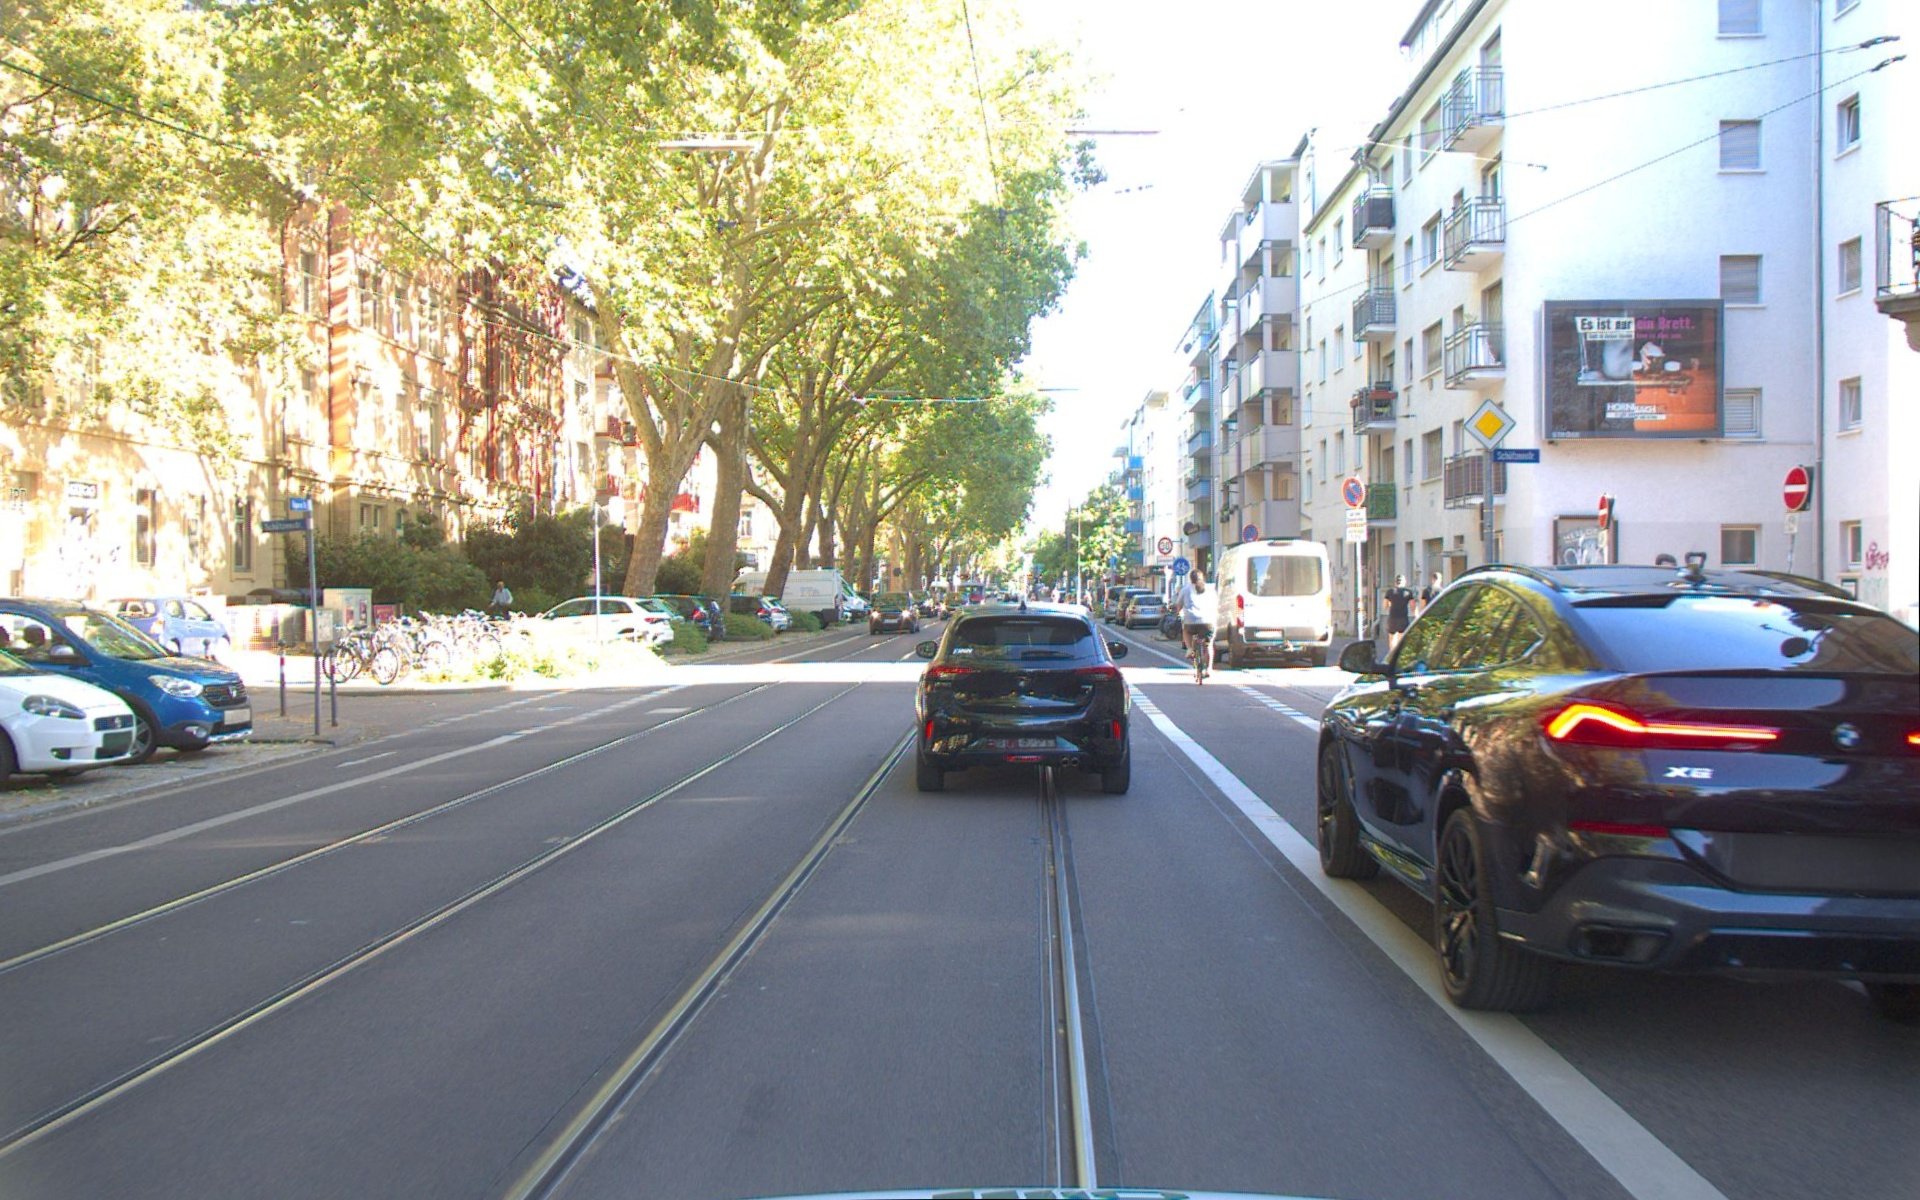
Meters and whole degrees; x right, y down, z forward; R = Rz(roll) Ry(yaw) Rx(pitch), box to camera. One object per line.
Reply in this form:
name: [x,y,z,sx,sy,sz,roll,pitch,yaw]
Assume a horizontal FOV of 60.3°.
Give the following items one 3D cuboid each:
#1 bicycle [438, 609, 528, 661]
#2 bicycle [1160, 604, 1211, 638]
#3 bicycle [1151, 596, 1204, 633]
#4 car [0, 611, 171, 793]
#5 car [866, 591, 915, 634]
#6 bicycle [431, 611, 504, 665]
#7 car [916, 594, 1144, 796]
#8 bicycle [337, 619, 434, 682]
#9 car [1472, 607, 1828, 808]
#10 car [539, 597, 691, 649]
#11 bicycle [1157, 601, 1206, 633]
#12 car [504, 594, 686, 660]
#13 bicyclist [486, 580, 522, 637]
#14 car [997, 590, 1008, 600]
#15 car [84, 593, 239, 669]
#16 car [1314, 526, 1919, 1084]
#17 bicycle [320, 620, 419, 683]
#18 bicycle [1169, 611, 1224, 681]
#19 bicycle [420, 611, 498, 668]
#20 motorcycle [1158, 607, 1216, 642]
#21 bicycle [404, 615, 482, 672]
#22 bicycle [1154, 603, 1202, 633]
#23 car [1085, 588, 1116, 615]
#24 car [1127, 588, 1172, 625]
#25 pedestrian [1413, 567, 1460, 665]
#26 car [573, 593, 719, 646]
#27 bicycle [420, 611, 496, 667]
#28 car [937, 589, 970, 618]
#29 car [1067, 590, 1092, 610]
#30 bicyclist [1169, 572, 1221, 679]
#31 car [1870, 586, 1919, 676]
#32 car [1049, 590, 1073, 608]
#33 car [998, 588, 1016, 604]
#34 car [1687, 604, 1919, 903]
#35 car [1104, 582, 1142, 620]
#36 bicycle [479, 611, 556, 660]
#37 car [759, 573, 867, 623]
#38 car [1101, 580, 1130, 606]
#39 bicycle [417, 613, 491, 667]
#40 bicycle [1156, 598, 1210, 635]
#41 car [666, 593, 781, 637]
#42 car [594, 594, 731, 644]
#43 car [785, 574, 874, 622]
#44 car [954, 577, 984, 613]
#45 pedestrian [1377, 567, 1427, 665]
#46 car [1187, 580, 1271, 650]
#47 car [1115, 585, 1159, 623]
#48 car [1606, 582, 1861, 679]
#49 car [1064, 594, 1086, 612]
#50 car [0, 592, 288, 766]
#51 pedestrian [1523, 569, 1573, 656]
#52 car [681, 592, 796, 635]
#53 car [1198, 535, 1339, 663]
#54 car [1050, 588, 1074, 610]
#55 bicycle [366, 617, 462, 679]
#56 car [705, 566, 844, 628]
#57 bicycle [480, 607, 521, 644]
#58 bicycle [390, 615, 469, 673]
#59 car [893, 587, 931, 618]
bicycle: [-10.366,0.751,35.940,1.879,1.107,0.597,0,0,20]
bicycle: [7.525,0.694,55.207,1.618,1.073,0.457,-2,0,2]
bicycle: [7.723,0.506,58.769,1.785,1.212,0.457,-2,0,2]
car: [-9.472,0.898,15.071,3.692,1.544,1.748,-1,0,-1]
car: [-2.538,0.442,61.090,1.601,1.536,3.692,0,0,0]
bicycle: [-10.336,0.794,34.699,1.526,1.107,0.396,0,0,20]
car: [0.568,0.698,13.957,1.645,1.447,3.628,1,0,2]
bicycle: [-10.368,0.907,29.855,1.818,1.107,0.396,0,0,20]
car: [5.868,0.827,14.604,1.614,1.445,4.062,-2,0,4]
car: [-9.707,0.636,46.661,3.903,1.393,1.606,0,0,4]
bicycle: [7.718,0.607,57.735,1.618,1.038,0.457,-2,0,2]
car: [-8.691,0.643,39.584,3.904,1.486,1.879,-1,-1,1]
bicyclist: [-14.534,0.274,52.726,0.813,1.794,1.048,0,0,2]
car: [6.083,-0.708,236.796,1.645,1.447,3.628,1,0,2]
car: [-16.575,0.601,34.514,1.566,1.486,3.489,-1,0,-1]
car: [2.919,0.626,7.464,1.903,1.734,4.632,0,0,3]
bicycle: [-10.515,0.910,29.444,1.818,1.107,0.396,0,0,20]
bicycle: [4.006,0.760,28.102,0.686,1.111,1.990,1,0,2]
bicycle: [-9.908,0.782,32.704,1.526,1.107,0.396,0,0,20]
motorcycle: [7.452,0.814,54.337,1.782,1.099,0.617,-1,0,26]
bicycle: [-10.087,0.843,32.293,1.526,1.107,0.396,0,0,20]
bicycle: [7.682,0.618,58.281,1.618,0.983,0.457,-2,0,2]
car: [8.776,0.087,103.665,1.819,1.680,4.002,0,0,4]
car: [8.118,0.252,71.118,1.688,1.552,4.515,0,0,4]
pedestrian: [9.270,0.316,32.224,0.612,1.854,1.082,-2,-1,4]
car: [-9.242,0.565,48.844,3.903,1.486,1.771,0,0,4]
bicycle: [-10.103,0.777,33.293,1.526,1.107,0.396,0,0,20]
car: [-0.328,0.162,89.378,1.682,1.536,3.723,0,0,0]
car: [9.821,-0.032,135.889,1.683,1.601,4.083,-1,0,-2]
bicyclist: [3.992,0.422,28.112,0.770,1.790,0.915,0,0,2]
car: [17.914,0.506,28.075,3.941,1.481,1.791,0,0,3]
car: [9.829,-0.109,160.781,1.953,1.668,3.999,0,0,-2]
car: [5.072,-0.485,177.224,1.713,1.680,4.002,0,0,4]
car: [5.655,0.780,9.170,1.569,1.445,4.014,-2,0,2]
car: [8.468,0.035,86.173,1.819,1.923,4.927,0,0,4]
bicycle: [-9.940,0.789,37.125,1.767,1.061,0.596,0,0,30]
car: [-7.518,-0.099,84.868,5.248,2.521,2.057,0,0,2]
car: [10.430,-0.478,111.286,1.819,1.680,4.002,0,0,4]
bicycle: [-10.471,0.820,34.221,1.526,1.107,0.396,0,0,20]
bicycle: [7.687,0.564,57.038,1.756,1.168,0.705,-2,0,2]
car: [-8.304,0.509,58.255,3.714,1.486,1.705,0,0,3]
car: [-9.266,0.578,51.633,3.903,1.486,1.705,0,0,4]
car: [-7.368,-0.116,93.621,4.843,2.612,2.082,-1,0,-1]
car: [0.595,-0.357,107.582,1.878,2.266,4.960,0,0,0]
pedestrian: [8.611,0.304,32.261,0.694,1.854,1.082,-2,-1,4]
car: [7.408,0.388,45.926,1.819,1.852,4.352,0,0,3]
car: [8.314,0.160,78.042,1.730,1.734,4.284,0,0,1]
car: [13.137,0.506,28.268,3.572,1.601,1.791,0,0,8]
car: [9.841,0.273,142.058,1.683,1.516,3.682,-1,0,1]
car: [-9.679,0.807,17.684,4.232,1.742,1.816,-1,0,-1]
pedestrian: [11.057,0.237,31.111,0.618,1.608,0.933,1,0,4]
car: [-8.132,0.498,60.892,3.903,1.522,1.831,0,0,3]
car: [6.598,-0.028,36.029,2.104,2.539,6.090,0,0,2]
car: [7.940,-0.108,128.307,1.819,1.680,4.002,0,0,4]
bicycle: [-10.087,0.883,30.545,1.818,1.107,0.396,0,0,20]
car: [-7.855,-0.127,70.341,5.621,2.580,2.163,0,0,2]
bicycle: [-14.595,0.801,52.571,0.726,1.158,1.781,0,0,2]
bicycle: [-10.207,0.840,31.845,1.526,1.107,0.396,0,0,20]
car: [-2.891,0.144,100.453,1.952,1.729,4.486,-2,0,2]
